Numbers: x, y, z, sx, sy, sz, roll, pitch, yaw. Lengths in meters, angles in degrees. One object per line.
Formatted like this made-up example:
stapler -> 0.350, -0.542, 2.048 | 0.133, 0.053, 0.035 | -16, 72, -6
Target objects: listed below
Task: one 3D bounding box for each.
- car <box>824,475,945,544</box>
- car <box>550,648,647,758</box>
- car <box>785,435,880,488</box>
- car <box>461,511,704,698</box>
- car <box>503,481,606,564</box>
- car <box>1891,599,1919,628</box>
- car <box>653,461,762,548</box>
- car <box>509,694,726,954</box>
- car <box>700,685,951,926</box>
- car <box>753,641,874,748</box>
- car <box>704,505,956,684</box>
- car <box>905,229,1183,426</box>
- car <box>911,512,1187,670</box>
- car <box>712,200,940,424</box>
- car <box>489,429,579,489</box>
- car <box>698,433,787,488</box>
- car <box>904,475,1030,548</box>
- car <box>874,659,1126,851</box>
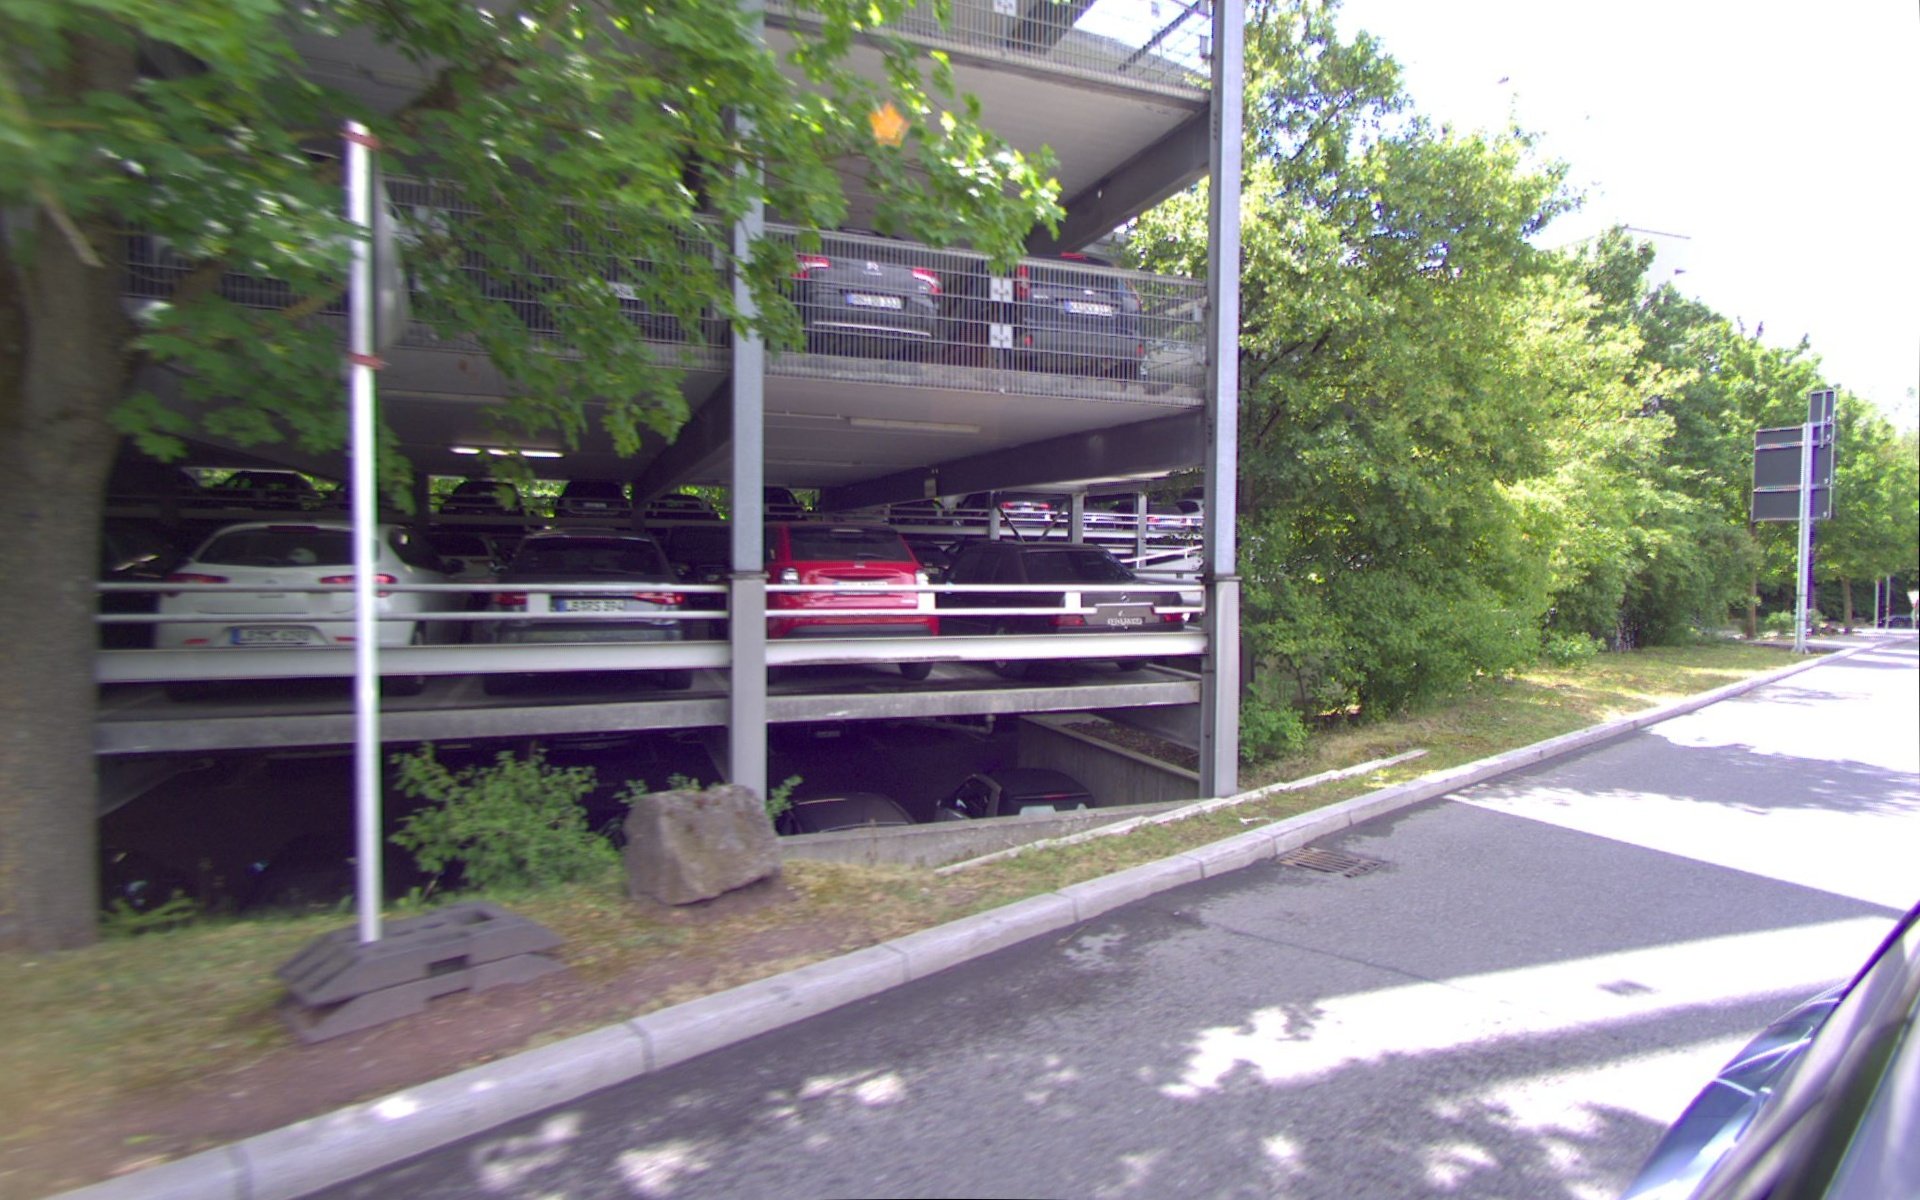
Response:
car -> -1.832, -2.157, 23.444 | 1.717, 1.440, 3.870 | -3, 7, -21
car -> -7.381, 1.972, 20.517 | 1.644, 1.326, 3.870 | -3, 7, -21
car -> -3.536, -3.743, 27.513 | 1.795, 1.340, 3.725 | -2, 8, -20
car -> -3.687, -0.147, 9.889 | 1.776, 1.408, 3.868 | -3, 6, -21
car -> -8.196, -1.663, 20.534 | 1.717, 1.502, 3.870 | -2, 7, -21
car -> 50.388, 0.820, 51.706 | 1.711, 1.315, 3.999 | -5, 8, -42
car -> -5.470, -2.091, 21.637 | 1.717, 1.663, 3.870 | -2, 7, -21
car -> -3.786, 2.132, 10.830 | 1.799, 1.469, 3.868 | -3, 6, -23
car -> -1.682, 2.069, 11.403 | 1.799, 1.469, 3.868 | -3, 6, -23
car -> -3.240, 1.924, 21.820 | 1.717, 1.440, 3.870 | -3, 7, -21
car -> -1.569, -0.238, 10.840 | 1.799, 1.532, 3.869 | -2, 6, -21
car -> 0.735, -2.847, 11.318 | 1.624, 1.428, 3.714 | 0, 5, -21
car -> 0.797, -0.255, 11.354 | 1.625, 1.428, 3.714 | -2, 6, -21
car -> -1.624, -2.898, 10.982 | 1.624, 1.581, 3.714 | 0, 5, -21
car -> -10.416, -3.452, 24.958 | 1.795, 1.340, 3.725 | -2, 8, -20
car -> -5.808, -3.652, 26.710 | 1.795, 1.340, 3.725 | -2, 8, -20
car -> 0.068, -2.197, 24.245 | 1.732, 1.568, 3.949 | -2, 8, -20
car -> 0.347, 1.807, 13.035 | 1.799, 1.469, 3.745 | -3, 6, -23
